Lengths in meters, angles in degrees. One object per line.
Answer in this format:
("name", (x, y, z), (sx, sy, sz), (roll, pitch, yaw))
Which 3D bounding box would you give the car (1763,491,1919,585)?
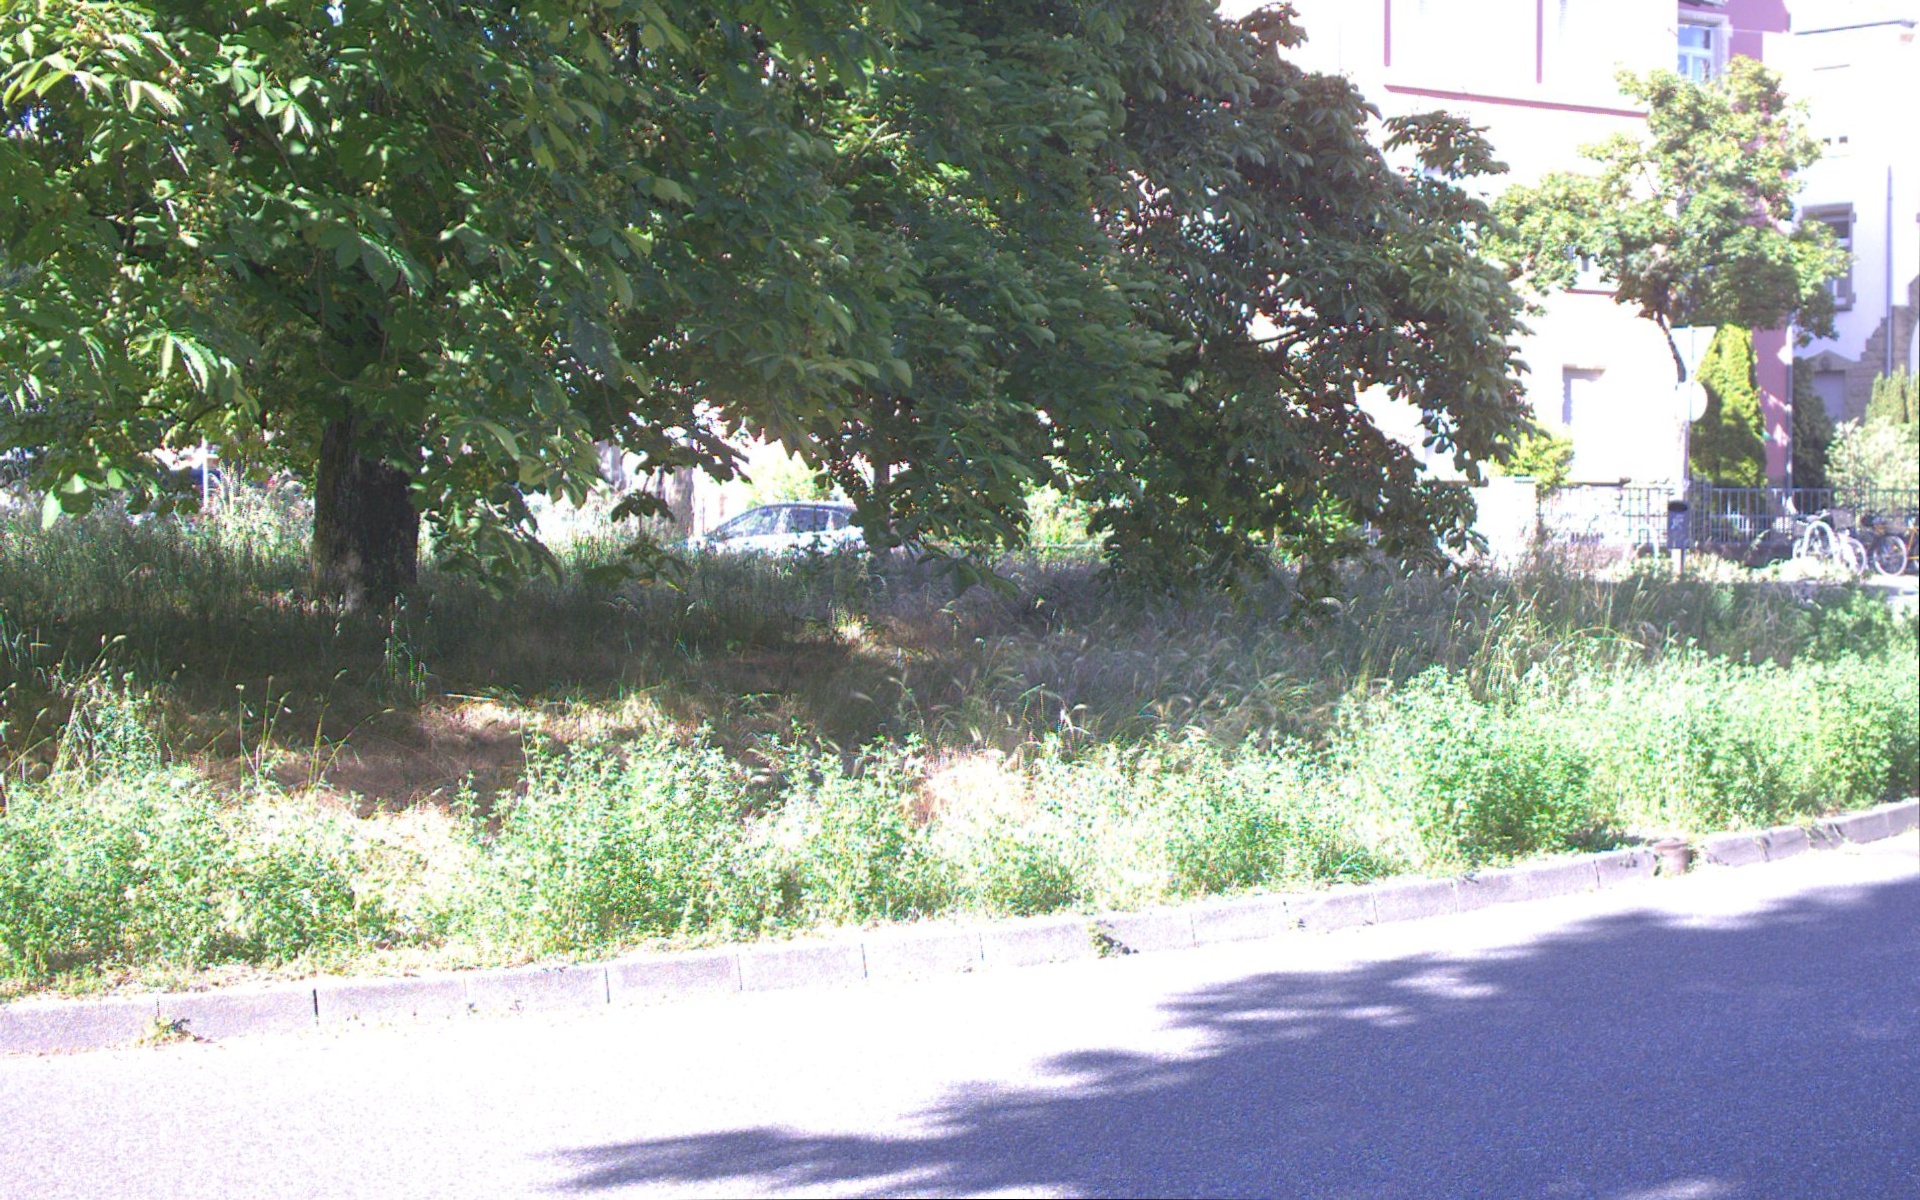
("car", (13.925, -0.955, 51.644), (3.634, 1.364, 1.759), (-2, 2, -39))

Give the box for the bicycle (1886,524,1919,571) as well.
("bicycle", (16.515, -0.875, 58.007), (0.624, 0.783, 2.287), (0, 2, -16))

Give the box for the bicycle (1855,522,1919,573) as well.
("bicycle", (15.864, -0.881, 57.766), (0.477, 0.820, 2.287), (0, 2, -16))

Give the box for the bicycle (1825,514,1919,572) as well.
("bicycle", (15.146, -0.952, 56.984), (0.477, 0.911, 2.287), (0, 2, -16))

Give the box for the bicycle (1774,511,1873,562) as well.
("bicycle", (14.162, -1.054, 56.434), (0.477, 0.797, 2.029), (-1, 2, -21))

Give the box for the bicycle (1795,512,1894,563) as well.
("bicycle", (14.577, -1.042, 56.703), (0.477, 0.797, 2.287), (0, 2, -16))

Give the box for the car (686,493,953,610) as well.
("car", (-1.967, -0.703, 47.445), (3.643, 1.546, 1.556), (2, 2, 42))
